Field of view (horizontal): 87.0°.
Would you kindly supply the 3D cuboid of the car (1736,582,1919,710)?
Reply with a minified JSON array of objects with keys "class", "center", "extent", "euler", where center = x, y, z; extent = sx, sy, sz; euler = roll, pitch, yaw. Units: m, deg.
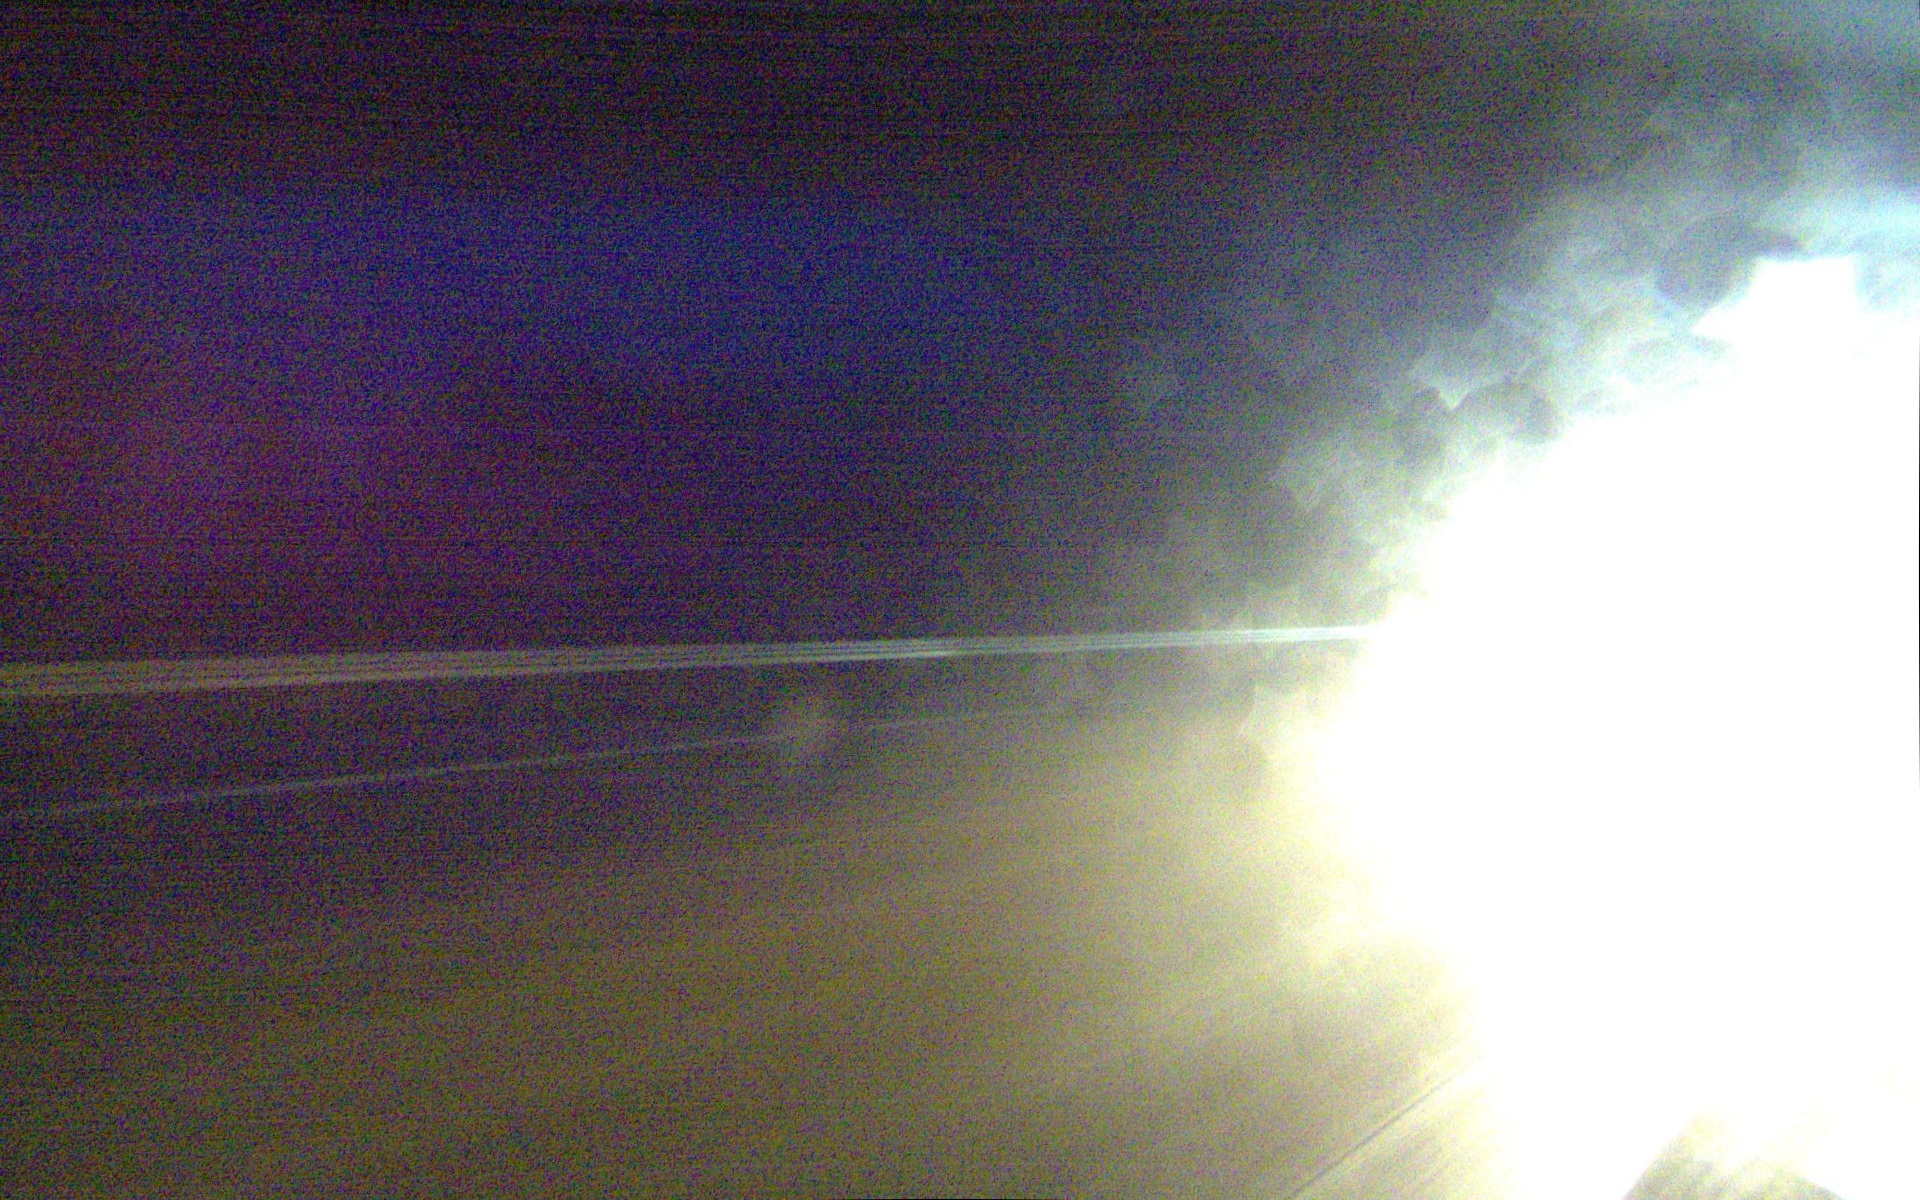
[{"class":"car","center":[13.140,0.587,15.093],"extent":[4.184,1.638,1.802],"euler":[0,0,-43]}]
